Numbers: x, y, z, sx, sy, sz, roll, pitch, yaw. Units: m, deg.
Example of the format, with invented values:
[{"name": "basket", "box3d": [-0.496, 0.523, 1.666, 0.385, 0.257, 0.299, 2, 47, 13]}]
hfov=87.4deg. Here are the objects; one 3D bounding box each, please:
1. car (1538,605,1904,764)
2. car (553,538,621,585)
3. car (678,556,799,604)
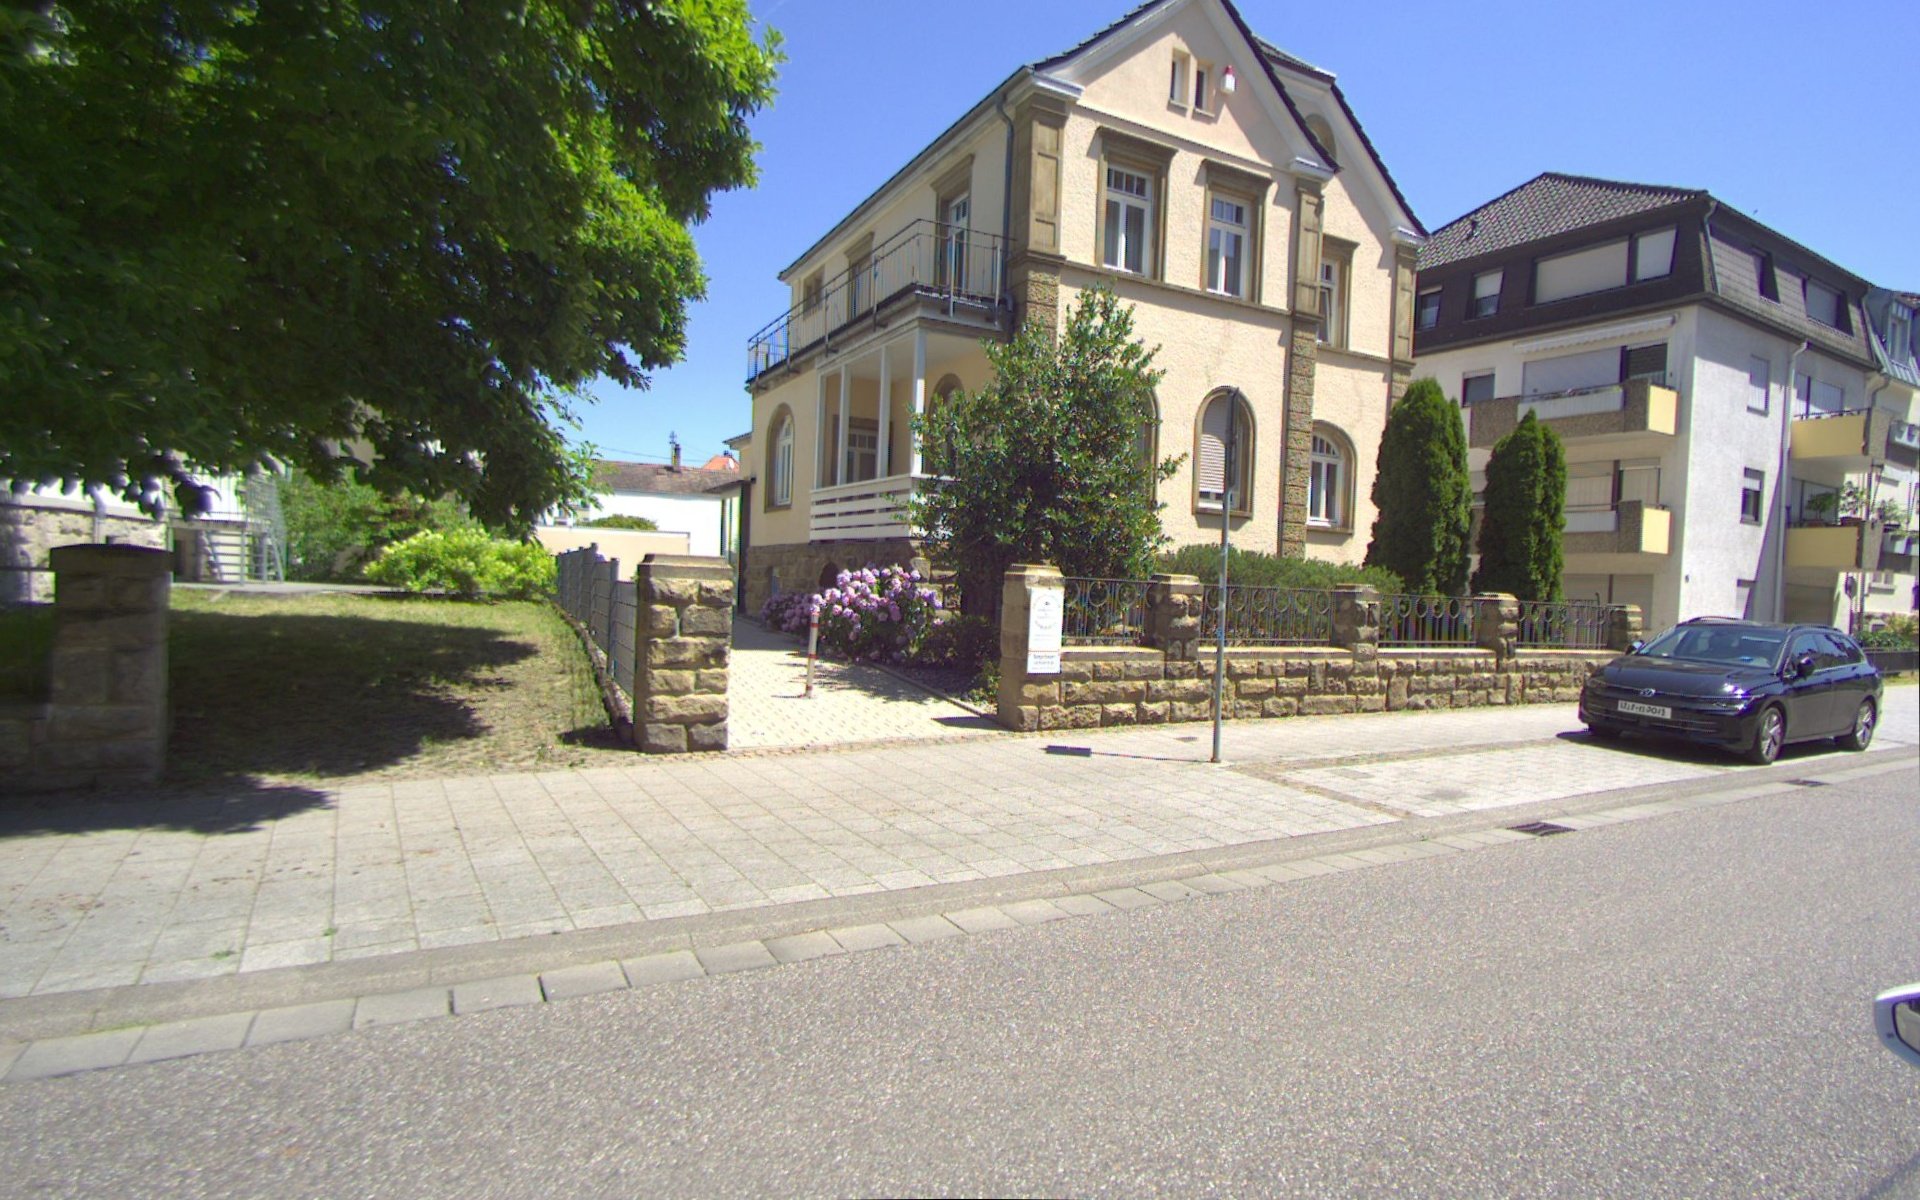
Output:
[{"name": "car", "box3d": [9.276, 0.924, 12.159, 4.607, 1.456, 1.915, 2, 4, -32]}, {"name": "car", "box3d": [-12.921, -1.304, 34.676, 1.972, 1.434, 3.976, 2, 1, -24]}, {"name": "car", "box3d": [-7.687, -0.681, 34.709, 3.936, 1.484, 1.807, 2, 1, -17]}]
